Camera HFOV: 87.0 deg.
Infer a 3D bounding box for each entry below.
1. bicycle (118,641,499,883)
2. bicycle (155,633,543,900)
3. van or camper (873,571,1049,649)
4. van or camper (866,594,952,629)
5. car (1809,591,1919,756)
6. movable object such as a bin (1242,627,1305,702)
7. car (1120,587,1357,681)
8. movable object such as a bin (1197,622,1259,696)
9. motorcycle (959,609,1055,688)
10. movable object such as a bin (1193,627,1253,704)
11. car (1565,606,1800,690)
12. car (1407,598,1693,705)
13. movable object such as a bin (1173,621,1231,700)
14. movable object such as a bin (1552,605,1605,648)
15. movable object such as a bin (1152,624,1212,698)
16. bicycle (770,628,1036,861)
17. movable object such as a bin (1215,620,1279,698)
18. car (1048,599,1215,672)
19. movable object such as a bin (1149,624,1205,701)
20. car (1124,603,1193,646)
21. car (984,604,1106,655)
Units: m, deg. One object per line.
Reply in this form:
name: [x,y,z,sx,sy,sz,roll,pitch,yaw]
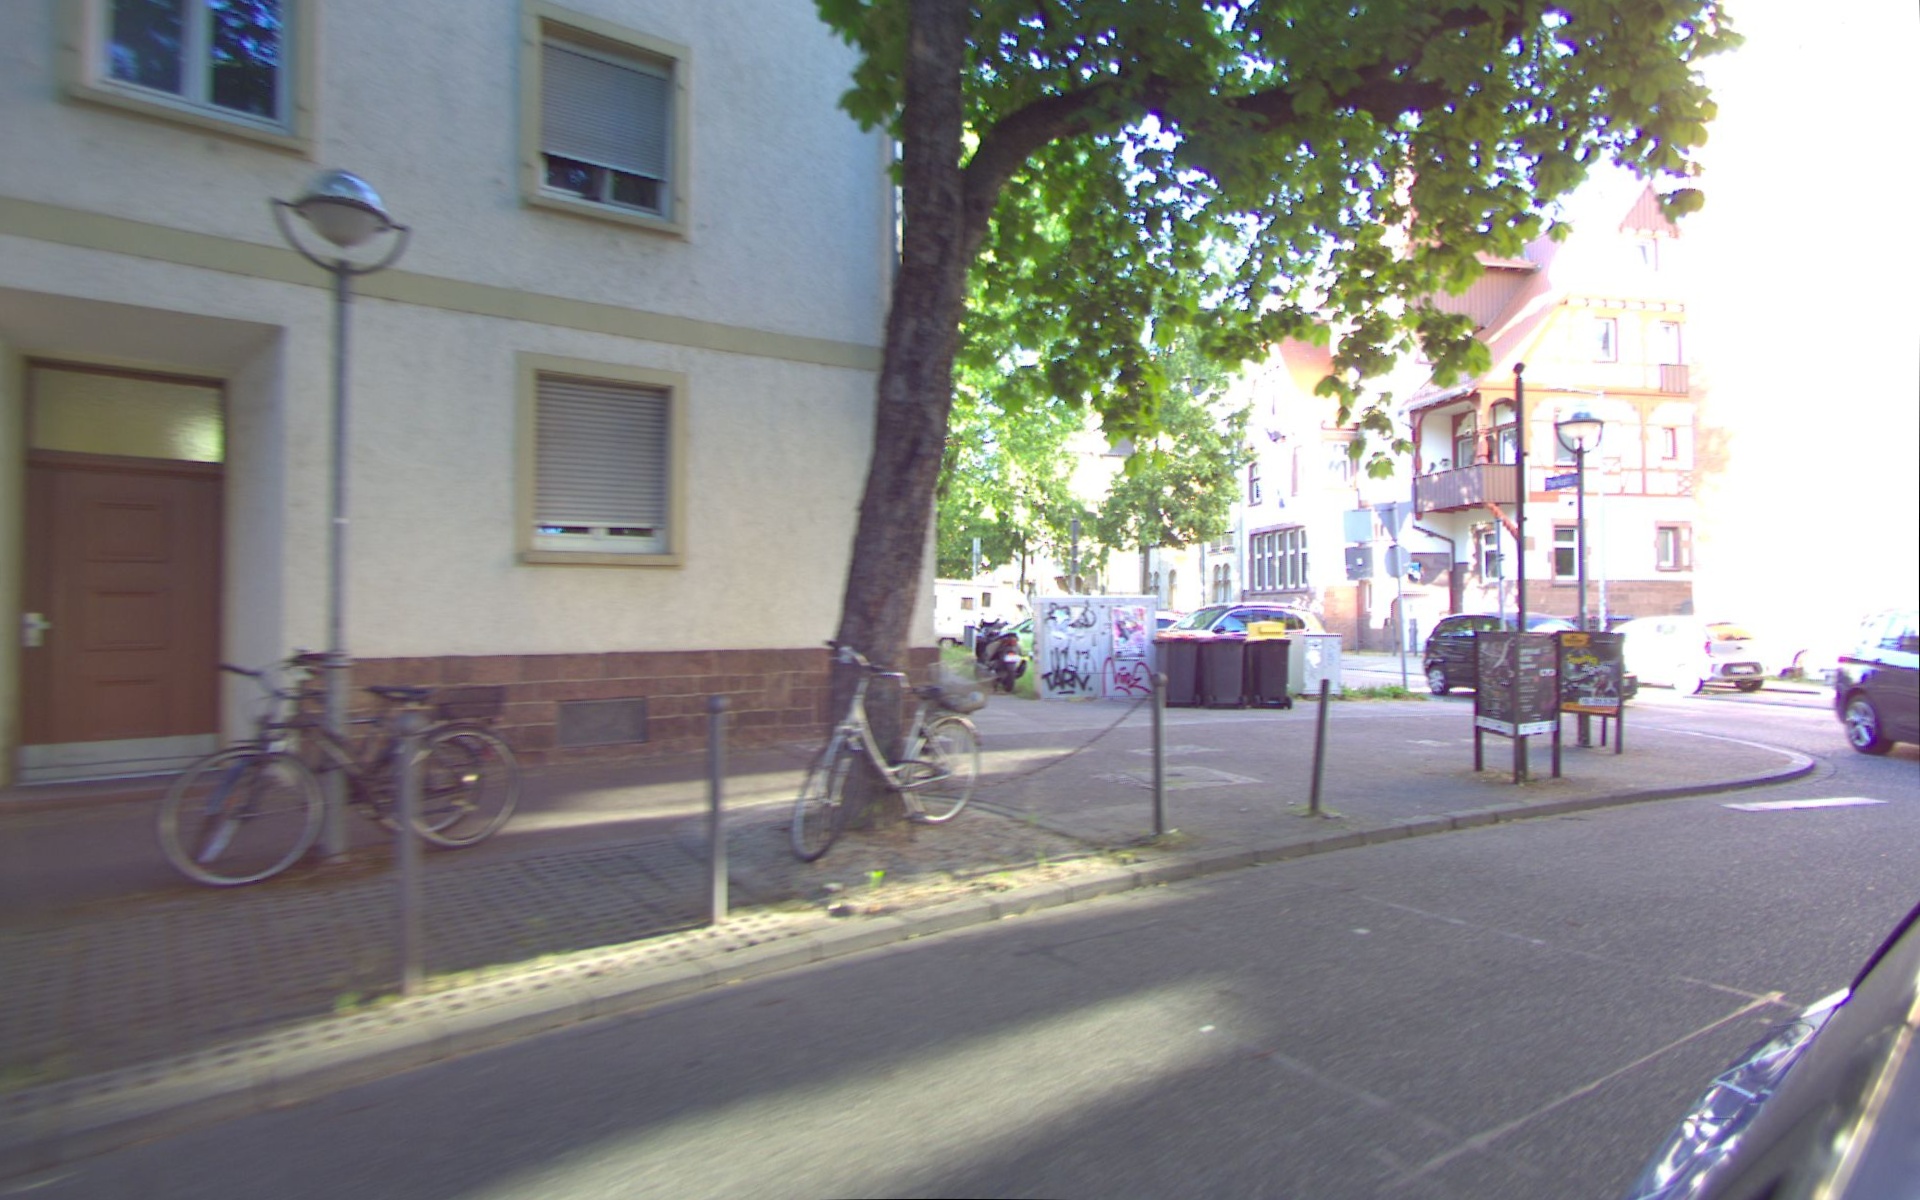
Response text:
bicycle: [-3.585,0.821,5.736,0.390,1.123,1.777,-1,-1,40]
bicycle: [-3.222,0.798,5.502,0.436,1.196,1.758,-1,-1,41]
van or camper: [-0.002,0.416,42.073,6.951,3.117,2.469,0,-1,-13]
van or camper: [-4.442,0.997,87.023,7.121,2.941,2.432,0,0,-10]
car: [10.280,0.699,9.423,1.899,1.627,4.493,-2,-1,16]
movable object such as a bin: [4.673,0.955,15.127,0.645,1.078,0.695,0,-1,-10]
car: [5.453,0.685,20.004,4.032,1.735,2.027,1,-2,-14]
movable object such as a bin: [4.378,0.947,16.579,0.724,1.167,0.717,0,-1,-10]
motorcycle: [0.786,0.814,17.885,0.957,1.296,2.186,1,-1,-19]
movable object such as a bin: [3.882,0.950,14.970,0.617,1.089,0.706,0,-1,-10]
car: [14.739,0.921,20.935,1.675,1.504,3.803,-2,0,-10]
car: [10.389,0.857,18.273,1.958,1.613,4.269,-2,-1,-14]
movable object such as a bin: [3.737,0.923,15.685,0.620,1.168,0.702,-1,-1,-10]
movable object such as a bin: [19.681,0.824,32.207,1.355,1.334,0.688,-1,-1,-17]
movable object such as a bin: [3.603,0.973,16.440,0.724,1.167,0.702,0,-1,-10]
bicycle: [-0.285,0.783,6.188,0.553,1.197,1.763,-1,-1,41]
movable object such as a bin: [4.483,0.908,15.847,0.724,1.167,0.702,0,-1,-10]
car: [4.084,0.828,24.459,3.630,1.672,1.706,0,-1,-7]
movable object such as a bin: [3.201,0.914,14.987,0.580,1.097,0.675,0,-1,-11]
car: [9.524,1.158,48.949,1.767,1.931,4.331,-2,0,-10]
car: [2.679,0.939,32.286,3.526,1.525,1.680,1,-2,-9]
